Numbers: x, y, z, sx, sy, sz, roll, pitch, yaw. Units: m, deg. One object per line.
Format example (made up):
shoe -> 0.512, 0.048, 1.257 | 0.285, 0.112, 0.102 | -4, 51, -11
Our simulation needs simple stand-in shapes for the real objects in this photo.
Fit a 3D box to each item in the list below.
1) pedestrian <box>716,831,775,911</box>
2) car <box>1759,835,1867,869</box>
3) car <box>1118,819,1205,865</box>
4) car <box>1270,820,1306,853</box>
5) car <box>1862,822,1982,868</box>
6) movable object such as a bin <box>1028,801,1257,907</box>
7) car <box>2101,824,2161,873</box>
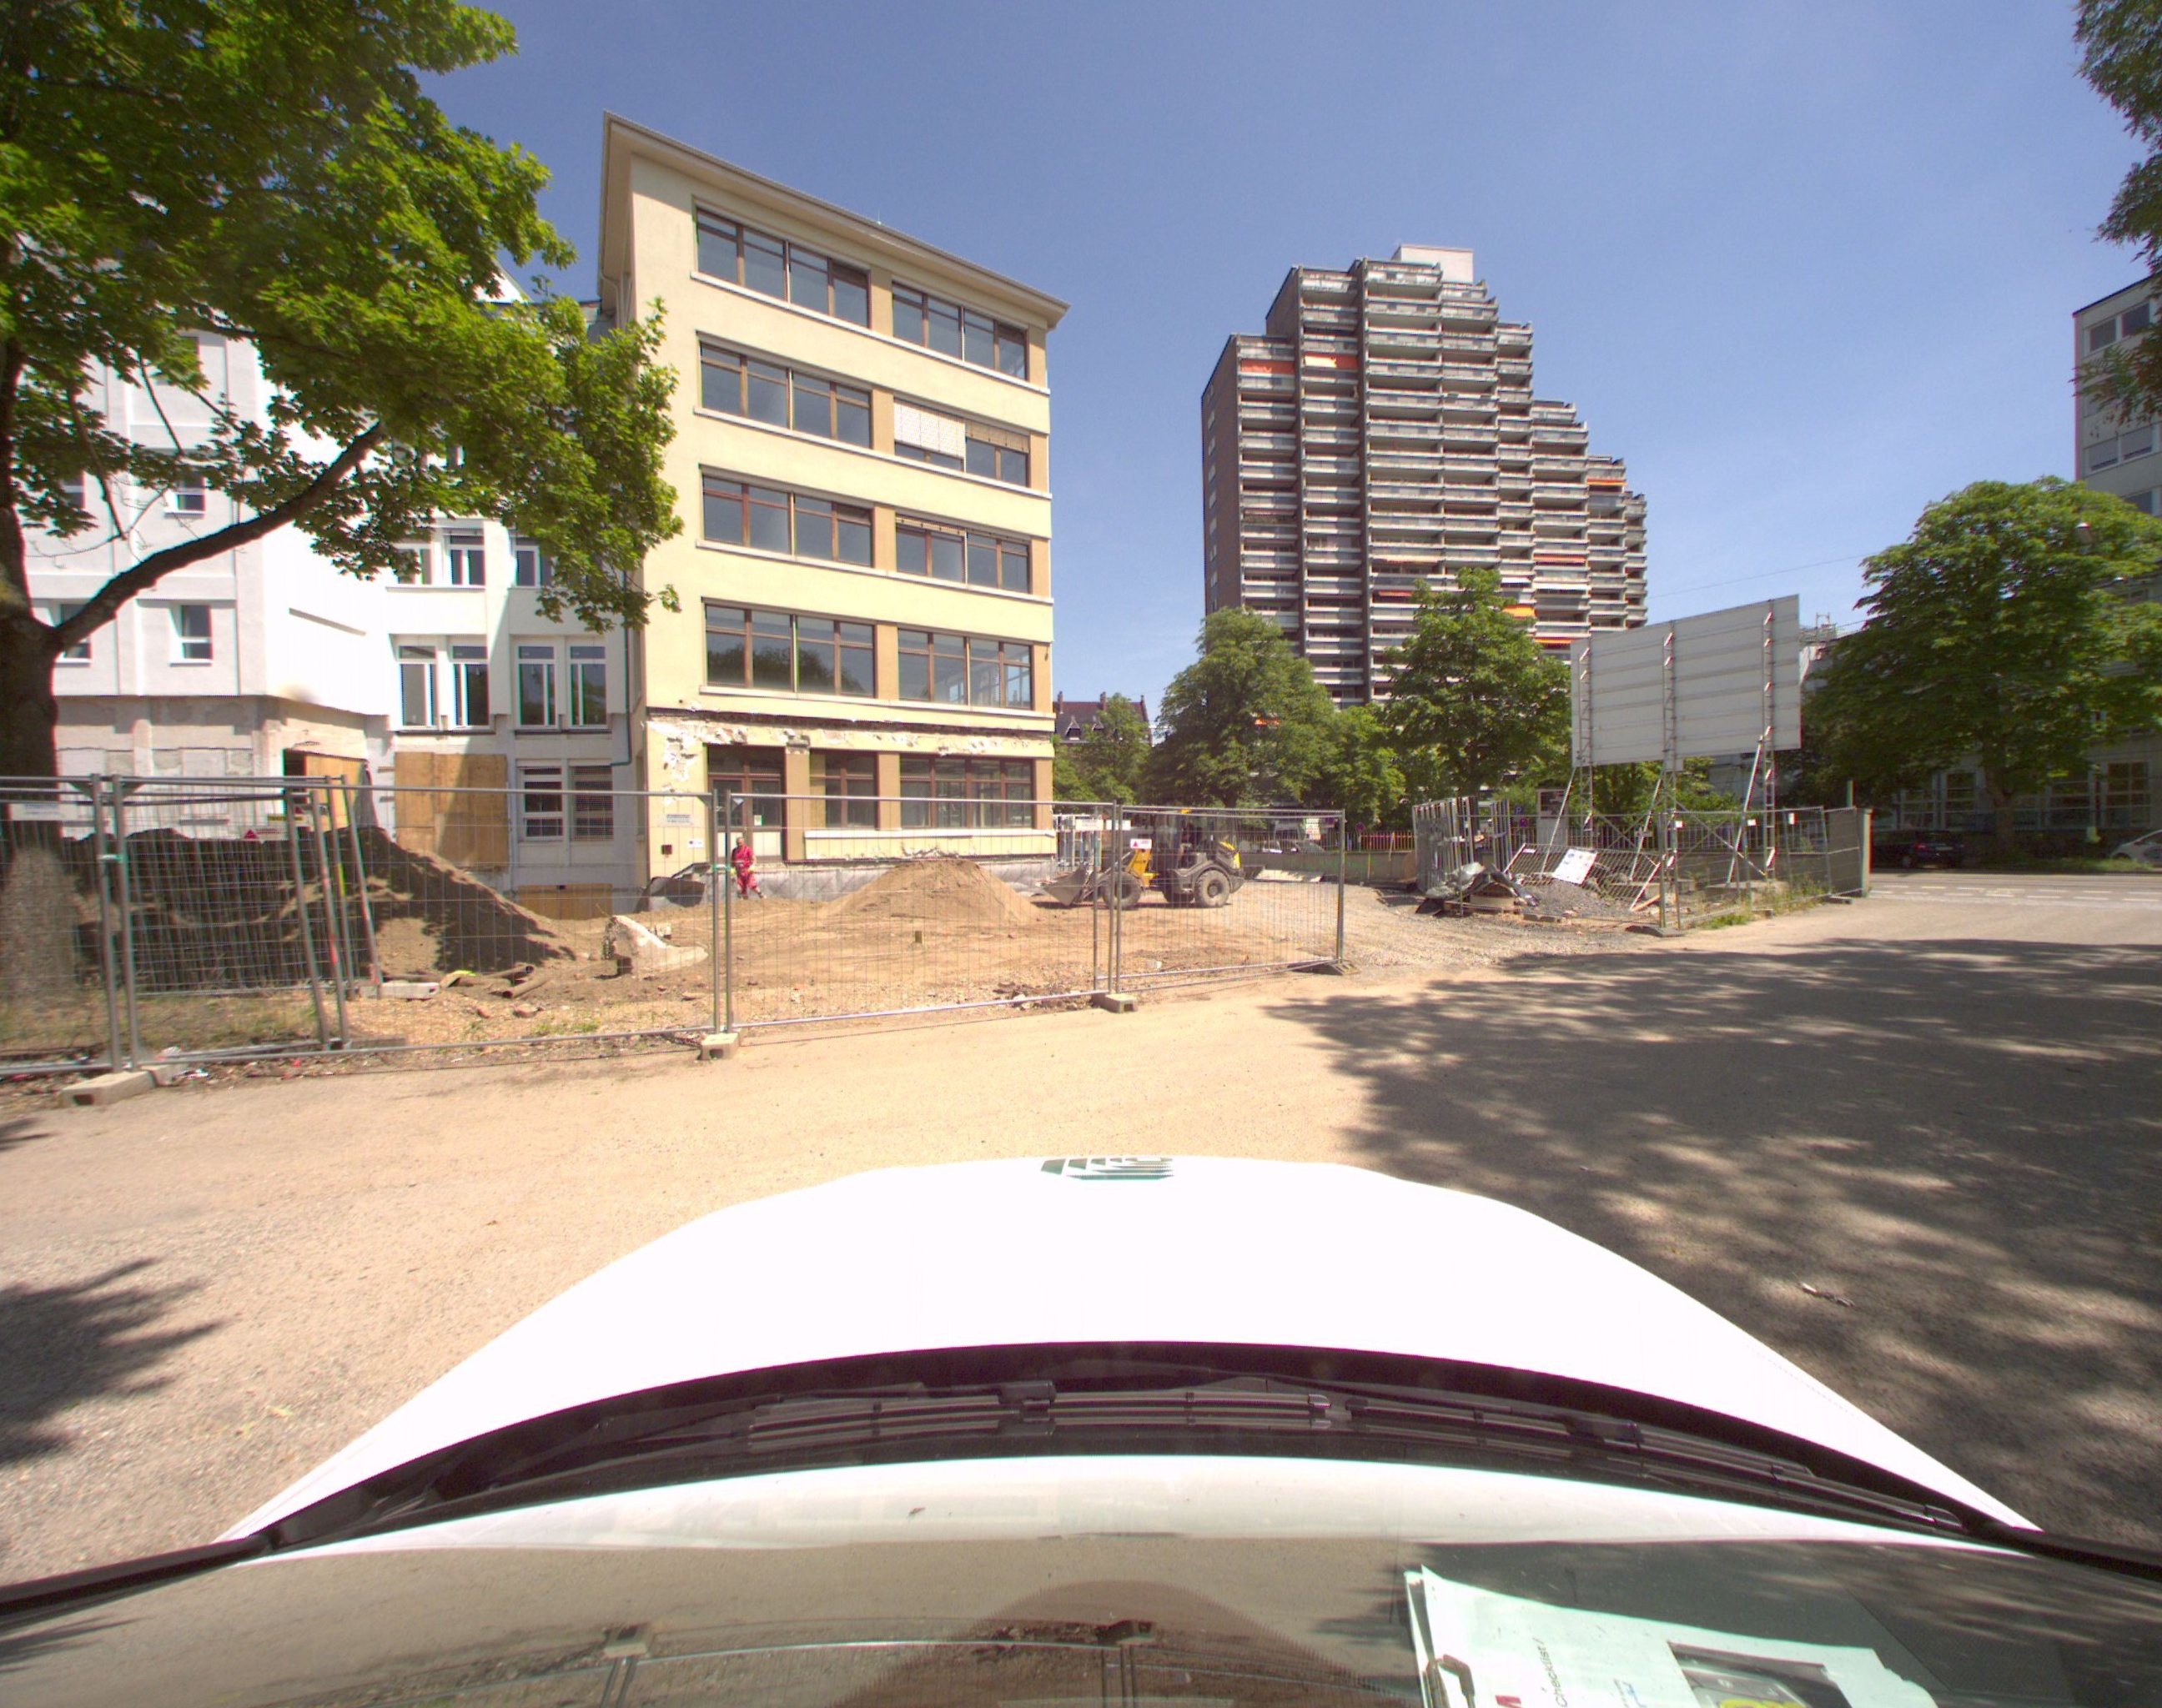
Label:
pedestrian -> -8.005, 0.381, 19.445 | 0.992, 1.846, 0.906 | -1, 0, -44
car -> 30.548, -0.100, 34.129 | 1.899, 1.310, 3.948 | -1, 0, 17
car -> 4.421, -0.636, 45.637 | 2.008, 2.416, 5.189 | -1, 0, -33
car -> 14.922, -1.244, 58.476 | 2.167, 2.258, 4.891 | -1, 0, 17
car -> 32.562, -0.352, 31.688 | 1.992, 1.629, 3.954 | -1, 0, 26
movable object such as a bin -> 1.465, -0.009, 20.677 | 5.403, 2.464, 2.360 | 0, 1, -10
car -> 36.028, -0.202, 26.435 | 1.653, 1.589, 3.704 | -1, 0, 11
